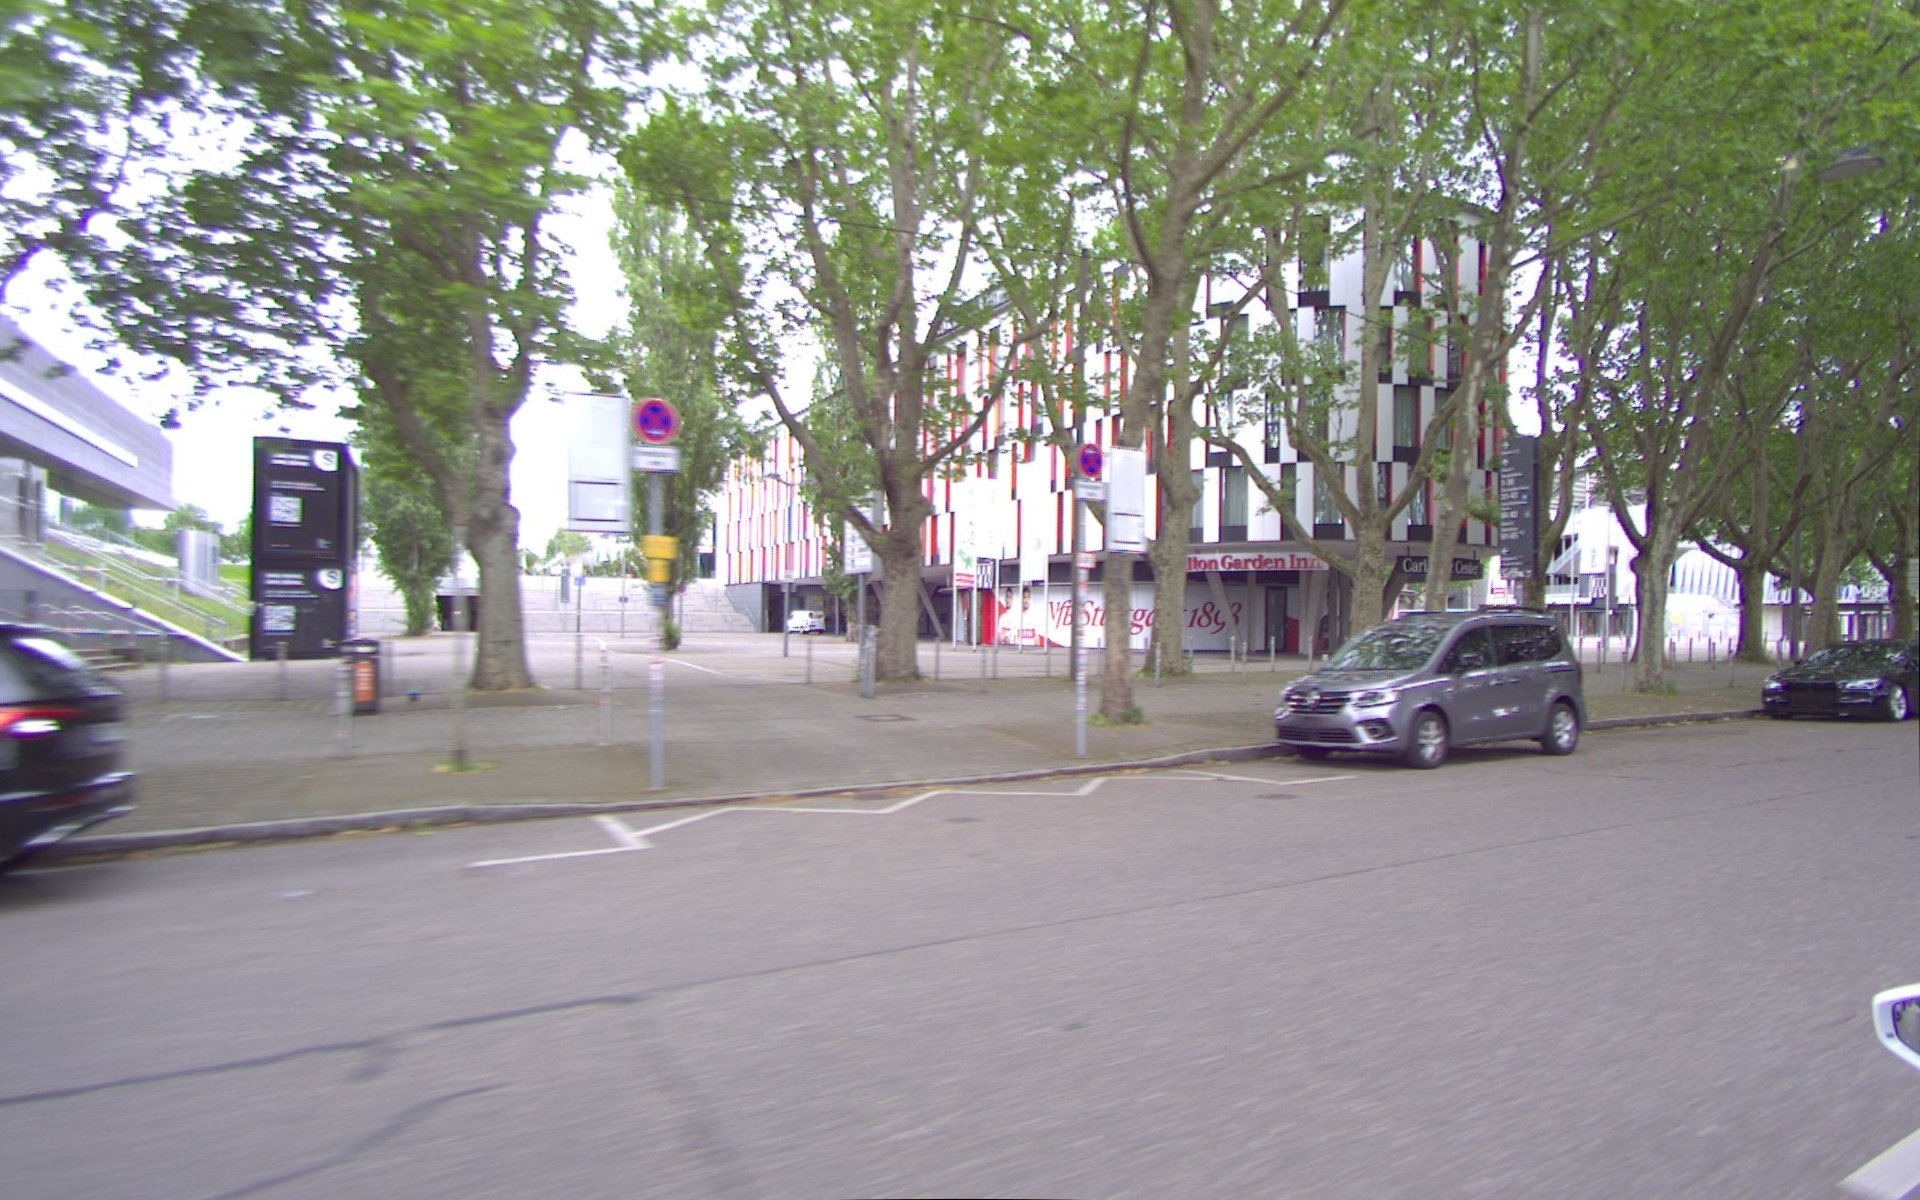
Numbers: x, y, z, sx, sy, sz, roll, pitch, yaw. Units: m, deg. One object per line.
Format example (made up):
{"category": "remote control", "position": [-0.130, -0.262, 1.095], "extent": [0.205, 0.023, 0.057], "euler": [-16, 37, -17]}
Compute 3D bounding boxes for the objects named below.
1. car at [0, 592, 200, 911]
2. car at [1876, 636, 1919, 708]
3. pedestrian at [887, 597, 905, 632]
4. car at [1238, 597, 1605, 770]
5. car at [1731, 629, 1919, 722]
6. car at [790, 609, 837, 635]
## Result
{"category": "car", "position": [-6.765, 0.794, 5.134], "extent": [4.289, 1.614, 1.811], "euler": [1, -4, -28]}
{"category": "car", "position": [21.567, 1.488, 21.379], "extent": [4.179, 1.475, 1.826], "euler": [1, -4, -30]}
{"category": "pedestrian", "position": [-3.117, 0.697, 48.996], "extent": [0.684, 1.712, 0.640], "euler": [1, -1, -27]}
{"category": "car", "position": [5.844, 0.993, 12.608], "extent": [4.558, 1.818, 1.887], "euler": [1, -4, -30]}
{"category": "car", "position": [17.045, 1.338, 18.937], "extent": [5.081, 1.550, 2.076], "euler": [1, -2, -28]}
{"category": "car", "position": [-12.694, 1.838, 86.846], "extent": [2.284, 2.040, 5.143], "euler": [-4, 2, -29]}
